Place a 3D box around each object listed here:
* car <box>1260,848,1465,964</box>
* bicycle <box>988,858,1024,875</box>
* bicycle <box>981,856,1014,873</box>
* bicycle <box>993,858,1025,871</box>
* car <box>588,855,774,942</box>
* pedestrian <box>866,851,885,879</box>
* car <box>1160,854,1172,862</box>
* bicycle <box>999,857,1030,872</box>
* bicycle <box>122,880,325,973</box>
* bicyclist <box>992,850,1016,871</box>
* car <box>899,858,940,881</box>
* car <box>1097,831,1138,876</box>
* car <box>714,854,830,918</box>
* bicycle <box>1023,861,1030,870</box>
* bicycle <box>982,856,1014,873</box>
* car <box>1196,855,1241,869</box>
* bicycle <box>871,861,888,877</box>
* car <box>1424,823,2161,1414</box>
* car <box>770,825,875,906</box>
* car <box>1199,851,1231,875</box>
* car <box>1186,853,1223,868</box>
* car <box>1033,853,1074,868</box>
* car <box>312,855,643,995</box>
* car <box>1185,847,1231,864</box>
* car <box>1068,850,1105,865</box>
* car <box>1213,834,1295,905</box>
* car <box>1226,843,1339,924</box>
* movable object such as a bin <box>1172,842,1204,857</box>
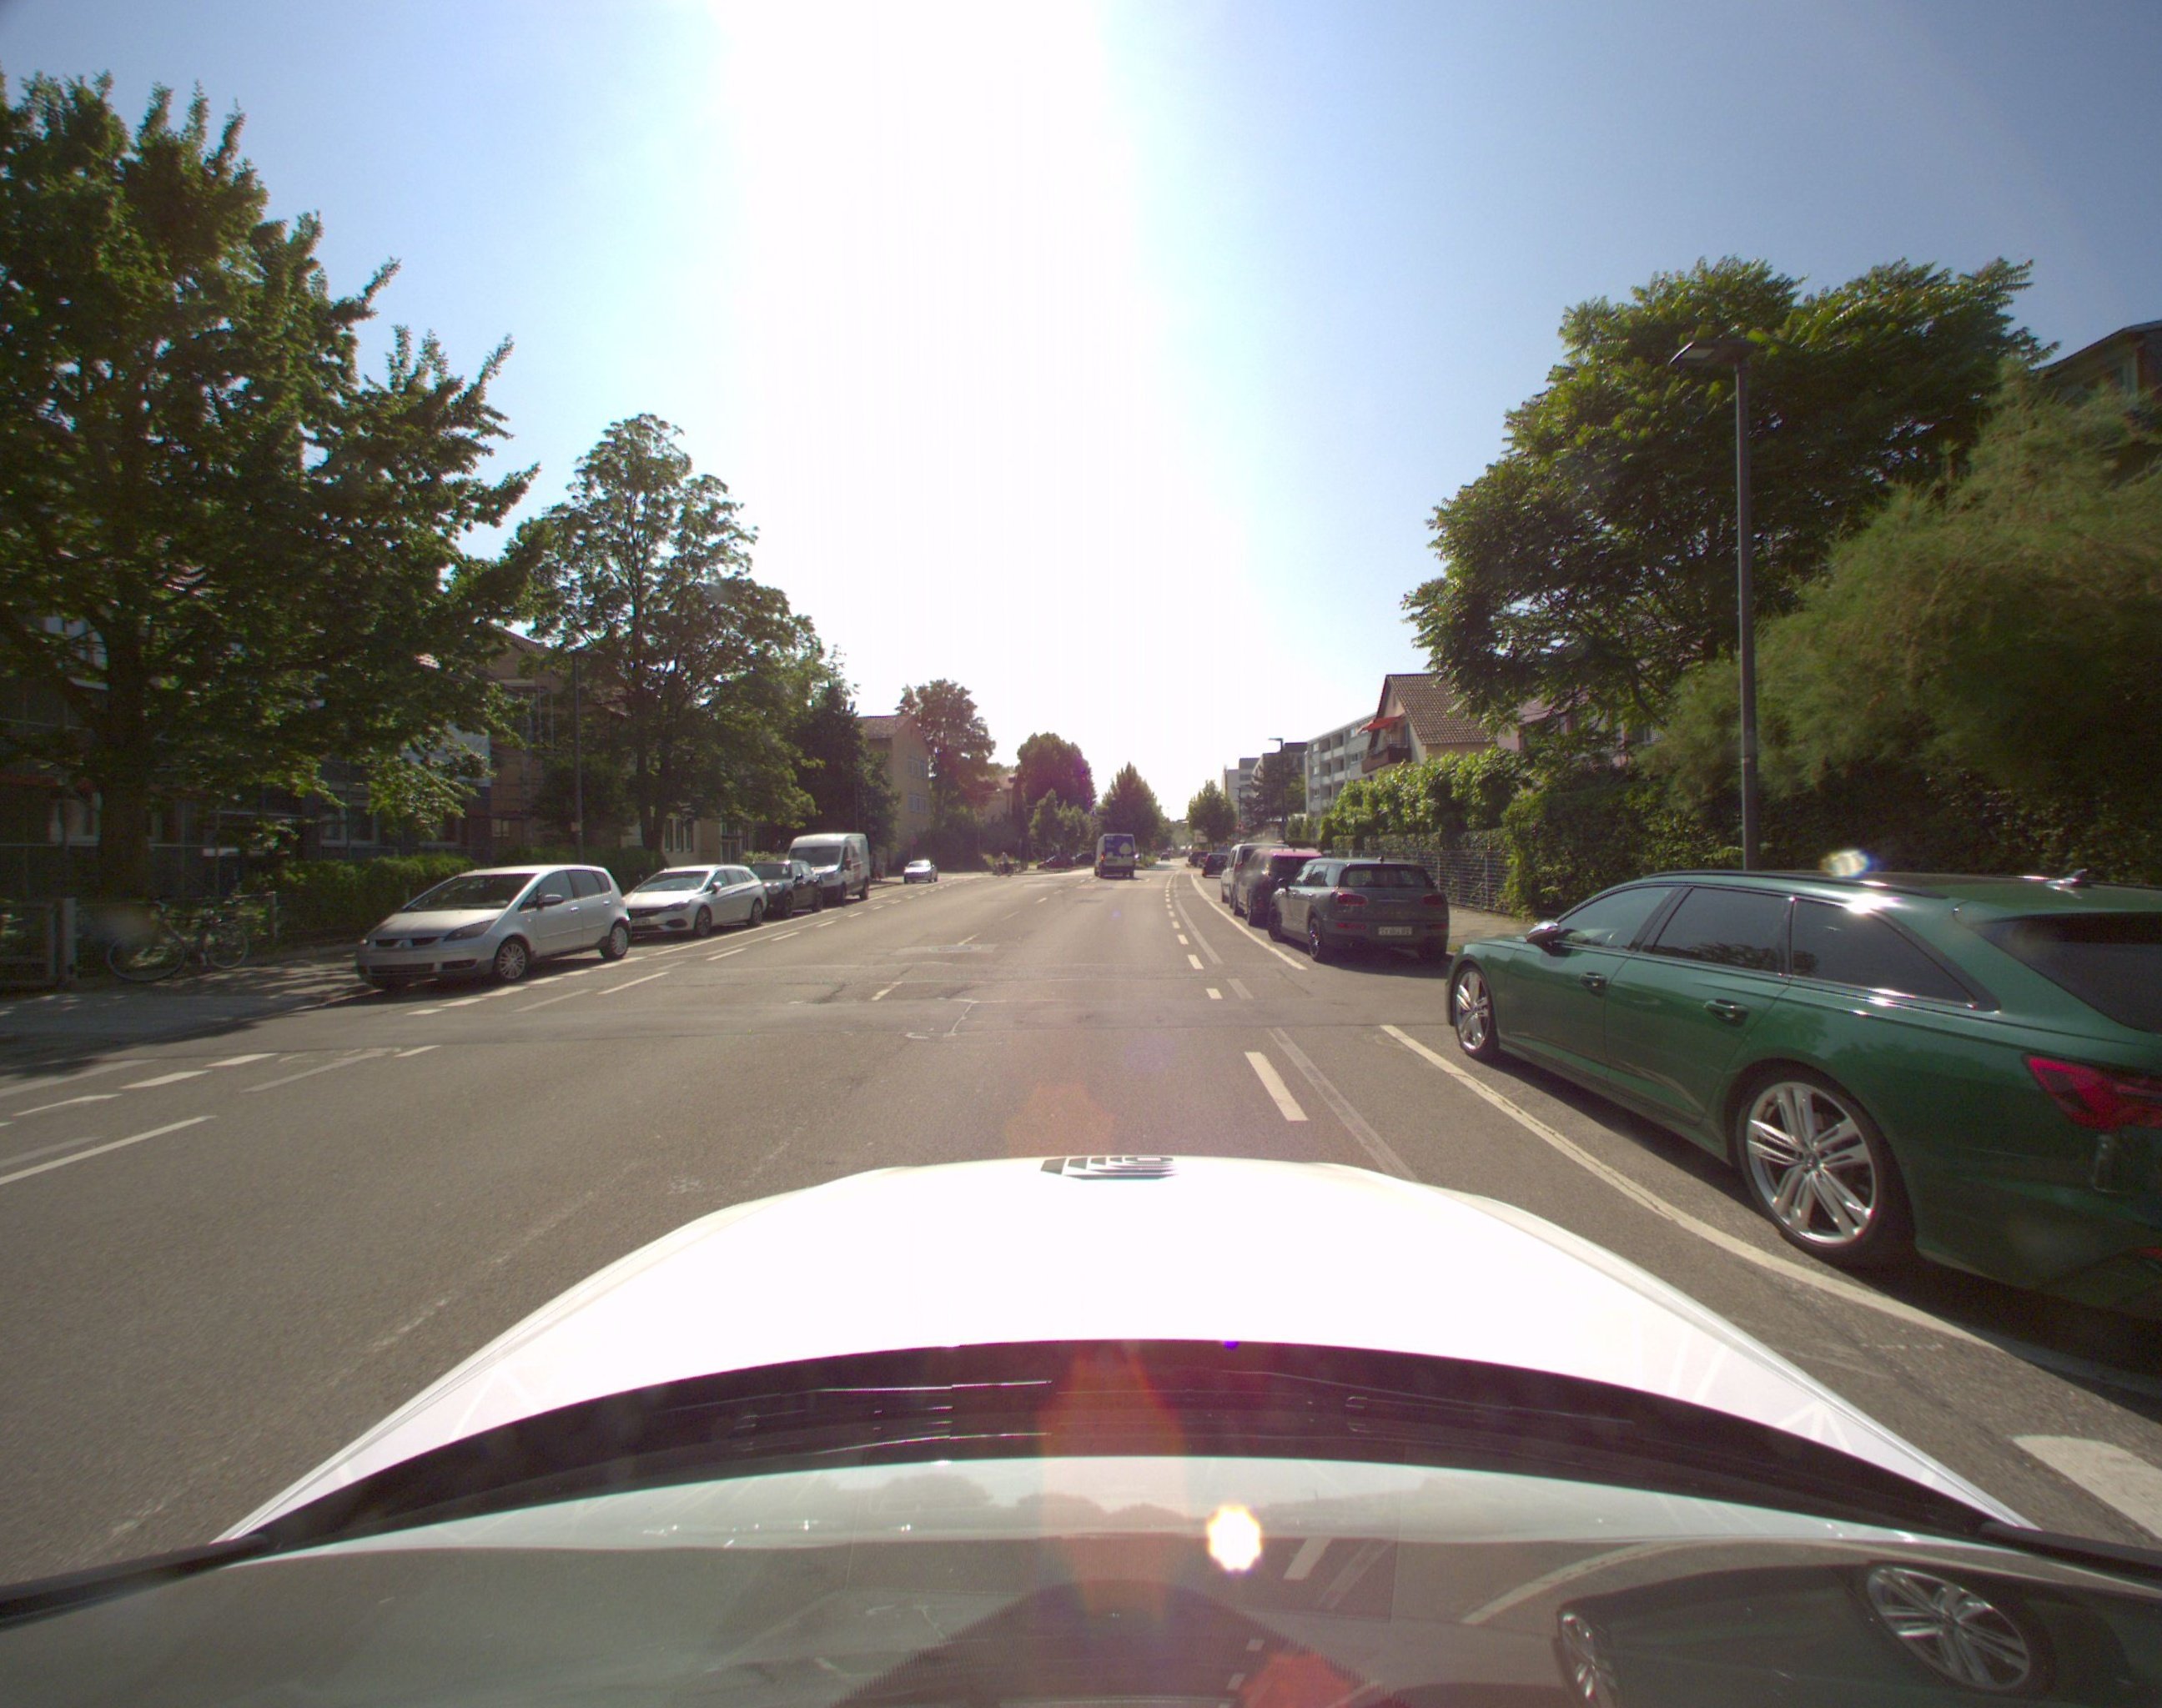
[{"bbox_3d":[4.095,0.657,12.594,1.756,1.443,4.068,-2,0,0],"label":"car"},{"bbox_3d":[-5.382,0.904,58.338,2.520,1.113,0.966,-2,0,34],"label":"bicycle"},{"bbox_3d":[-6.708,0.838,65.692,2.533,1.256,0.740,-2,0,4],"label":"bicycle"},{"bbox_3d":[-6.044,0.913,67.976,2.533,0.987,0.740,-2,0,4],"label":"bicycle"},{"bbox_3d":[-8.452,0.838,17.759,1.715,1.559,4.671,-2,0,-1],"label":"car"},{"bbox_3d":[-13.021,0.678,51.655,0.969,1.780,0.726,-1,-1,3],"label":"pedestrian"},{"bbox_3d":[15.922,0.735,152.831,1.985,1.398,4.004,-1,0,4],"label":"car"},{"bbox_3d":[-5.751,0.861,70.122,2.533,1.256,0.740,-1,0,4],"label":"bicycle"},{"bbox_3d":[-12.177,0.978,11.695,0.511,1.139,2.240,-1,-1,1],"label":"bicycle"},{"bbox_3d":[-5.509,0.460,58.423,1.338,1.403,0.966,-2,0,34],"label":"bicyclist"},{"bbox_3d":[-9.951,0.952,50.428,1.715,1.266,3.999,-2,0,-1],"label":"car"},{"bbox_3d":[2.249,-0.019,49.898,2.266,2.524,6.140,-2,0,3],"label":"car"},{"bbox_3d":[-8.491,0.804,22.758,1.715,1.559,3.999,-2,0,-1],"label":"car"},{"bbox_3d":[-5.237,1.127,78.590,0.518,0.903,1.271,-2,-1,2],"label":"bicycle"},{"bbox_3d":[-6.800,0.848,66.754,2.533,1.239,0.740,-2,0,4],"label":"bicycle"},{"bbox_3d":[13.258,0.790,78.454,3.999,1.236,1.742,-1,0,-19],"label":"car"},{"bbox_3d":[-14.452,1.058,58.396,0.380,1.081,1.695,-1,0,-42],"label":"bicycle"},{"bbox_3d":[3.644,0.662,4.376,1.804,1.463,4.792,2,0,3],"label":"car"},{"bbox_3d":[-8.916,0.346,28.687,2.085,2.496,5.944,-2,0,-4],"label":"car"},{"bbox_3d":[8.027,0.548,48.997,1.609,1.390,4.005,0,0,5],"label":"car"},{"bbox_3d":[14.440,0.738,95.469,3.981,1.640,1.750,-1,0,-5],"label":"car"},{"bbox_3d":[-2.933,0.689,86.084,3.993,1.466,1.990,-2,0,-14],"label":"car"},{"bbox_3d":[-8.218,0.844,11.645,1.715,1.559,3.999,-2,0,-1],"label":"car"},{"bbox_3d":[12.670,0.146,81.309,4.128,1.640,2.027,-1,0,-27],"label":"car"},{"bbox_3d":[0.664,0.451,102.651,4.202,1.816,1.985,-1,0,-31],"label":"car"},{"bbox_3d":[4.954,0.438,23.876,1.754,1.827,4.603,1,-1,4],"label":"car"},{"bbox_3d":[4.376,0.572,18.295,1.754,1.593,4.319,-1,0,4],"label":"car"},{"bbox_3d":[33.318,-1.451,254.015,9.619,4.550,3.171,0,0,8],"label":"movable object such as a bin"}]
